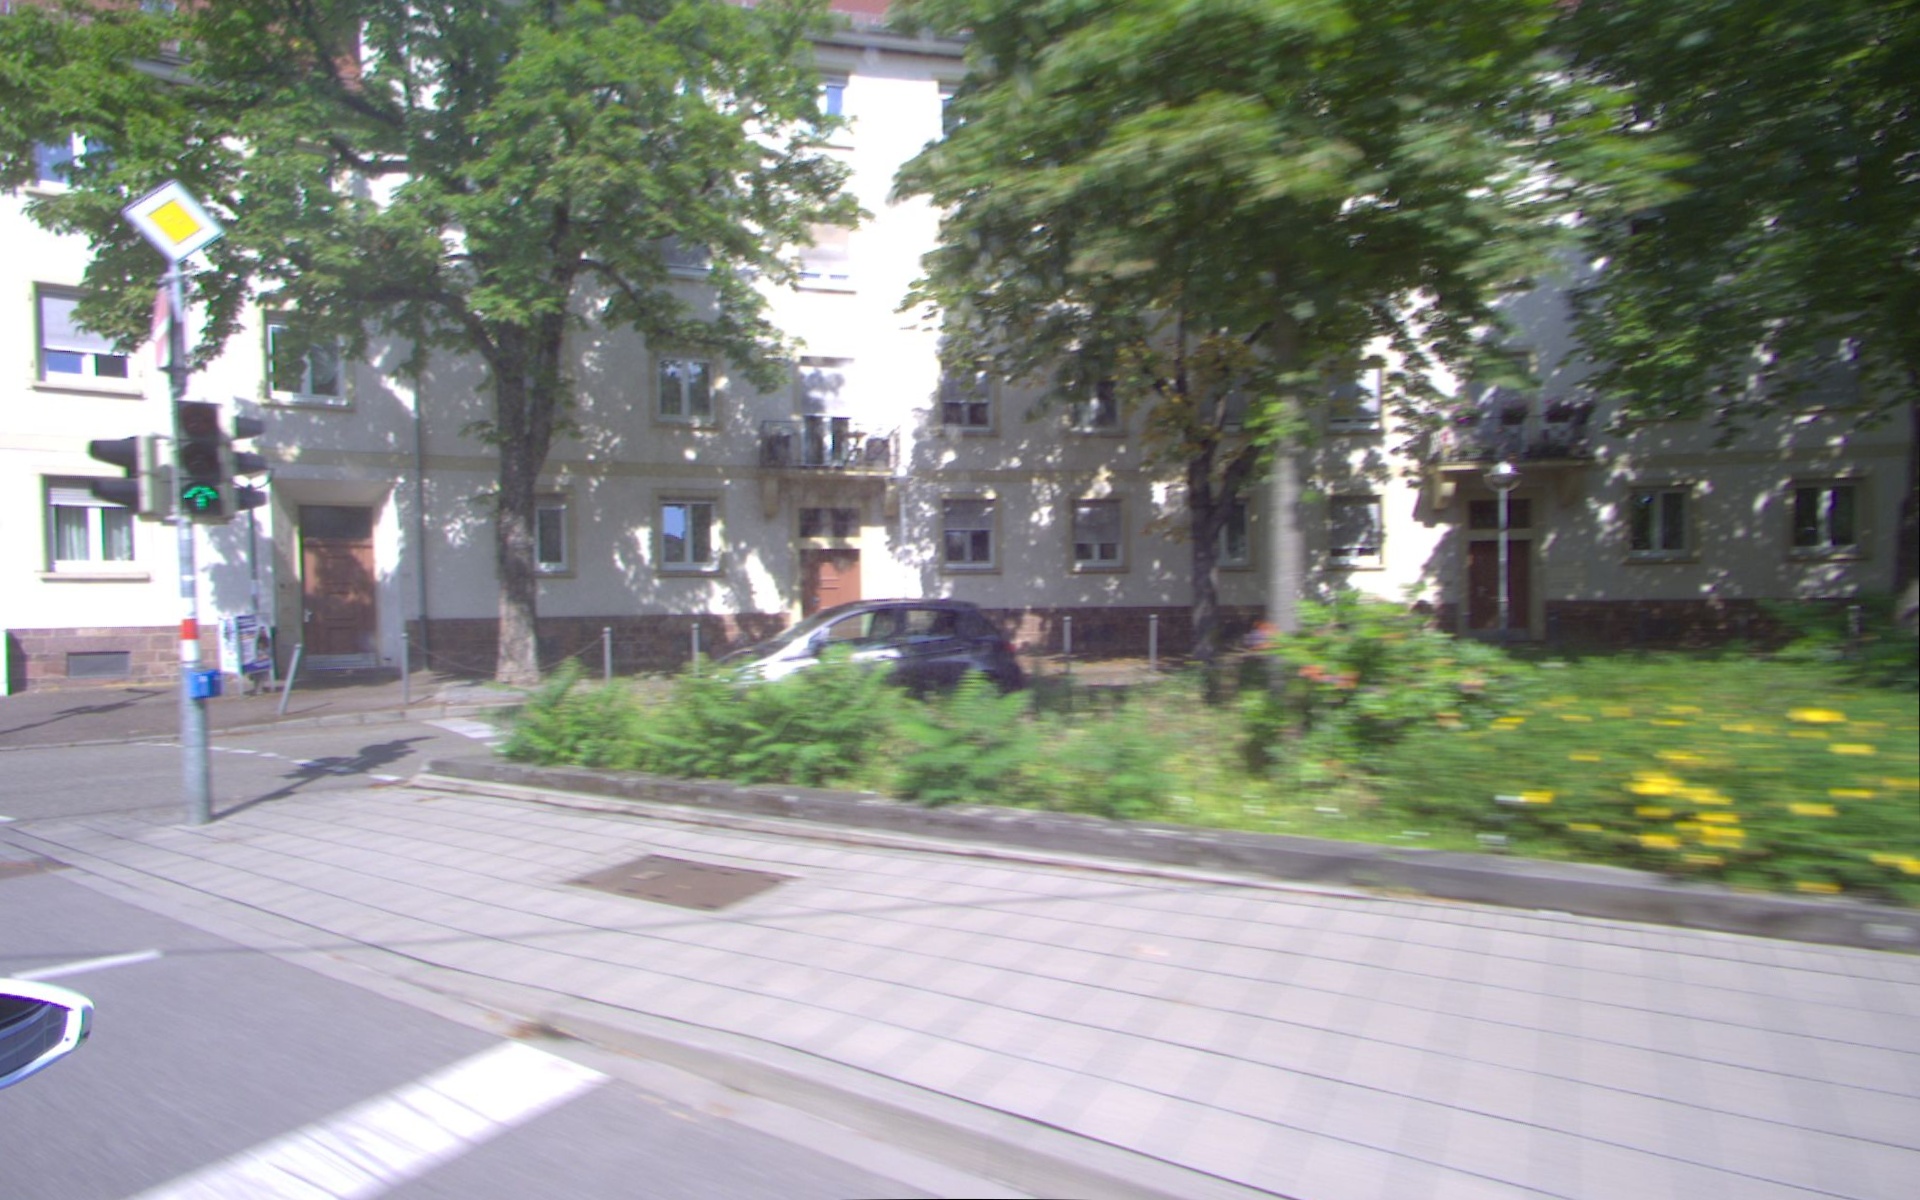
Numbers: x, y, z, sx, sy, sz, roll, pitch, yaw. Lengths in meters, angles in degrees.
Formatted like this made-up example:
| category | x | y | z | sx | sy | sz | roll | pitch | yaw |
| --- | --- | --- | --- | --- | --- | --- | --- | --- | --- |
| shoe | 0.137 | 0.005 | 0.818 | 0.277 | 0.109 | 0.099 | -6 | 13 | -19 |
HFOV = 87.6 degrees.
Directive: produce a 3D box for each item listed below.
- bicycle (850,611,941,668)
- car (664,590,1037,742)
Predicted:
| category | x | y | z | sx | sy | sz | roll | pitch | yaw |
| --- | --- | --- | --- | --- | --- | --- | --- | --- | --- |
| bicycle | -1.245 | 0.749 | 19.306 | 1.719 | 1.034 | 0.566 | -1 | 3 | -4 |
| car | -1.325 | 0.677 | 11.837 | 4.096 | 1.530 | 1.848 | -1 | 2 | -15 |
